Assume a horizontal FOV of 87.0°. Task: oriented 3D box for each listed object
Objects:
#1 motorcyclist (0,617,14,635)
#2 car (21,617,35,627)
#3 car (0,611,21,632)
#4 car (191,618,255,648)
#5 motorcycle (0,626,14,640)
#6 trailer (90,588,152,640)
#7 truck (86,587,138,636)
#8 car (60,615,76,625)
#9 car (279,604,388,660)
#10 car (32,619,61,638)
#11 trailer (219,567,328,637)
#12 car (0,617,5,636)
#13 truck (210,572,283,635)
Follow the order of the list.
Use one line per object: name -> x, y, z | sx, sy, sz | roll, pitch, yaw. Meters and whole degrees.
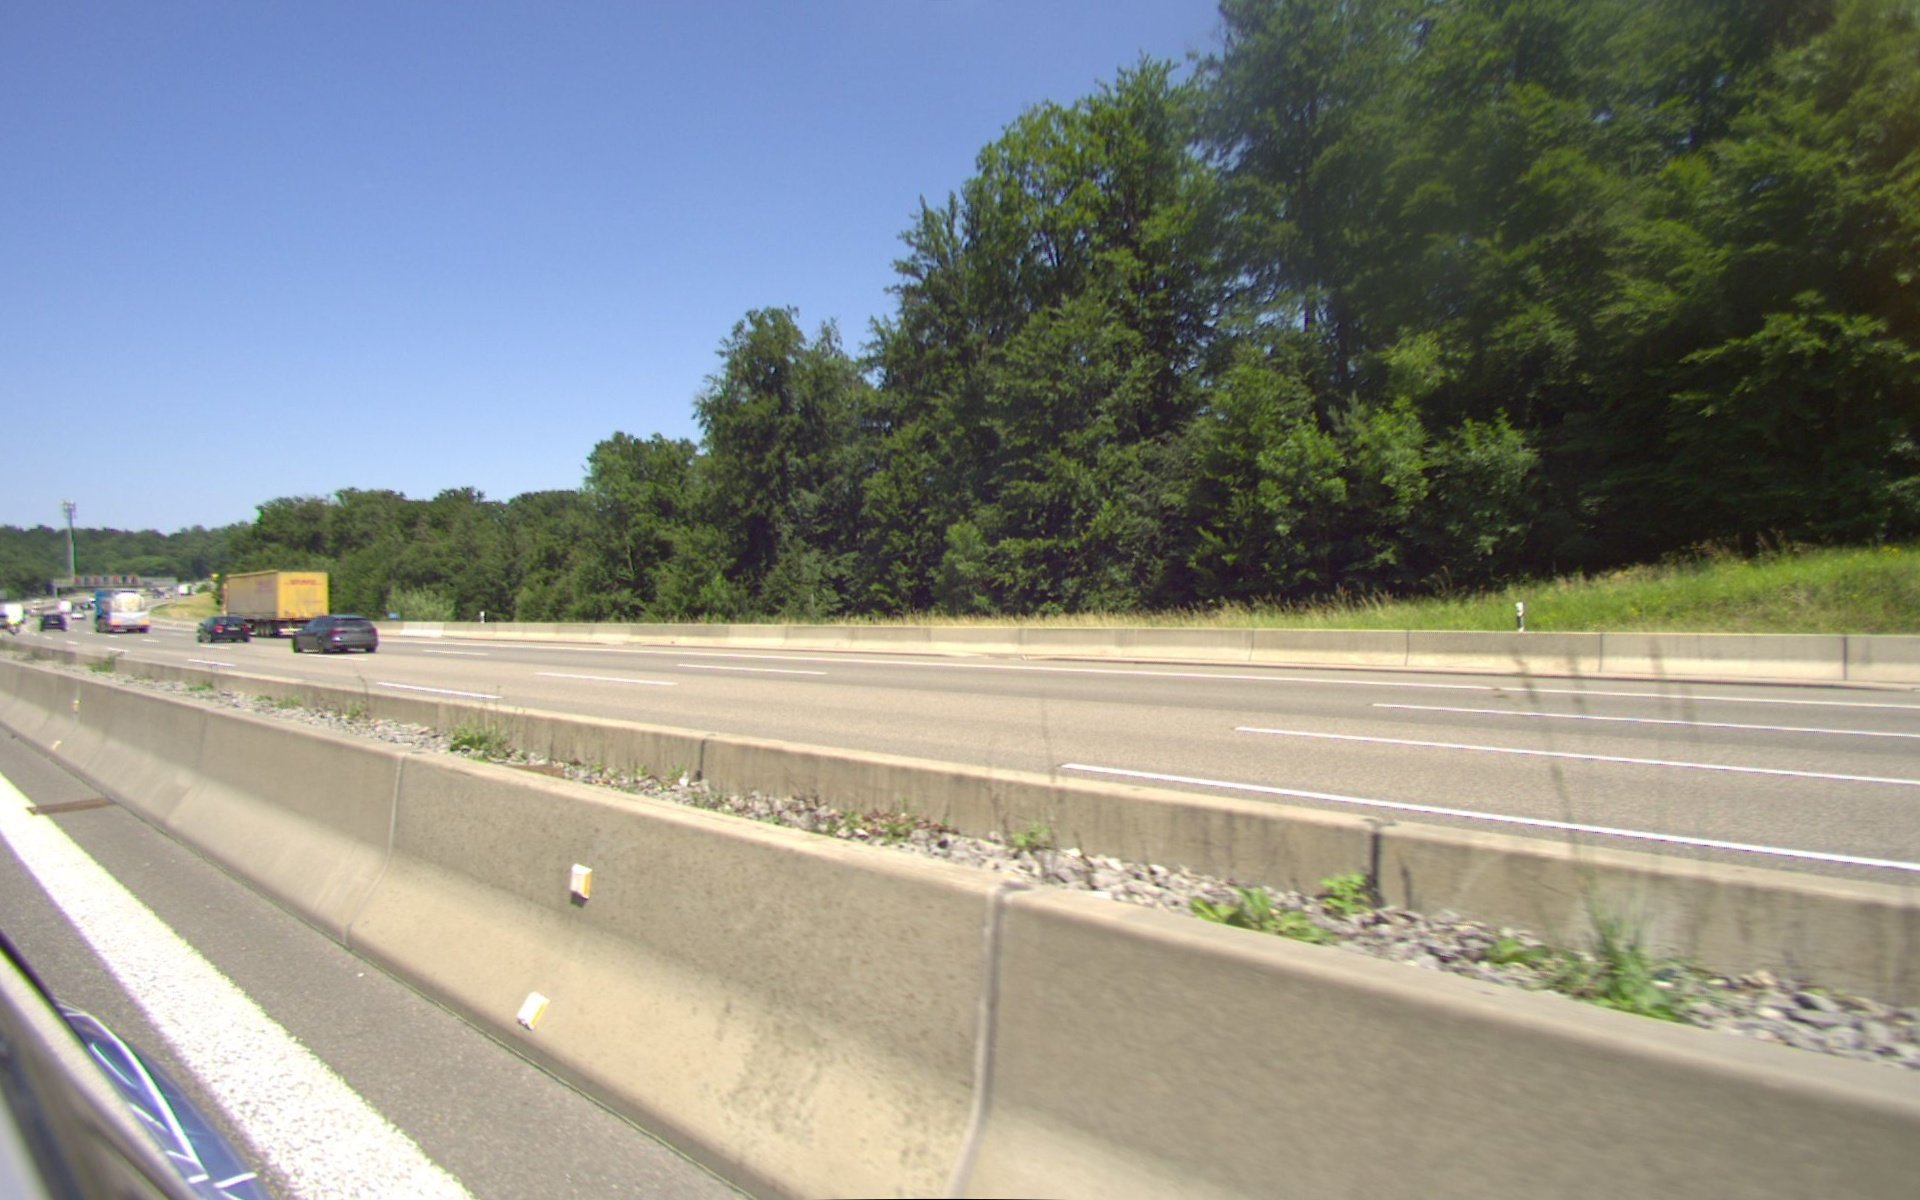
motorcyclist -> -74.292, 1.995, 78.874 | 0.905, 1.371, 0.719 | -1, -1, 43
car -> -175.939, 4.109, 191.085 | 4.591, 1.885, 1.798 | -1, -1, 45
car -> -128.291, 2.979, 136.353 | 6.308, 2.709, 2.075 | -2, 0, 43
car -> -38.889, 1.711, 53.382 | 4.581, 1.494, 1.971 | -1, -1, 44
motorcycle -> -74.313, 2.566, 78.870 | 2.528, 1.021, 0.719 | -1, -1, 44
trailer -> -68.715, 1.020, 82.739 | 11.698, 3.909, 2.510 | 1, 2, 44
truck -> -71.990, 0.932, 85.888 | 6.802, 3.969, 2.503 | 0, 1, 43
car -> -144.541, 3.248, 163.984 | 1.743, 1.493, 4.497 | -2, 1, -44
car -> -23.560, 1.128, 37.969 | 5.248, 1.885, 1.973 | 0, 1, 41
car -> -83.863, 2.582, 92.898 | 4.061, 1.656, 1.701 | -1, -1, 44
trailer -> -43.664, 0.202, 64.074 | 13.725, 4.035, 2.693 | -1, -1, 43
car -> -91.614, 2.503, 95.545 | 4.955, 1.718, 1.971 | -1, -1, 44
truck -> -48.214, 0.286, 68.346 | 6.751, 4.048, 2.720 | -1, -1, 43
